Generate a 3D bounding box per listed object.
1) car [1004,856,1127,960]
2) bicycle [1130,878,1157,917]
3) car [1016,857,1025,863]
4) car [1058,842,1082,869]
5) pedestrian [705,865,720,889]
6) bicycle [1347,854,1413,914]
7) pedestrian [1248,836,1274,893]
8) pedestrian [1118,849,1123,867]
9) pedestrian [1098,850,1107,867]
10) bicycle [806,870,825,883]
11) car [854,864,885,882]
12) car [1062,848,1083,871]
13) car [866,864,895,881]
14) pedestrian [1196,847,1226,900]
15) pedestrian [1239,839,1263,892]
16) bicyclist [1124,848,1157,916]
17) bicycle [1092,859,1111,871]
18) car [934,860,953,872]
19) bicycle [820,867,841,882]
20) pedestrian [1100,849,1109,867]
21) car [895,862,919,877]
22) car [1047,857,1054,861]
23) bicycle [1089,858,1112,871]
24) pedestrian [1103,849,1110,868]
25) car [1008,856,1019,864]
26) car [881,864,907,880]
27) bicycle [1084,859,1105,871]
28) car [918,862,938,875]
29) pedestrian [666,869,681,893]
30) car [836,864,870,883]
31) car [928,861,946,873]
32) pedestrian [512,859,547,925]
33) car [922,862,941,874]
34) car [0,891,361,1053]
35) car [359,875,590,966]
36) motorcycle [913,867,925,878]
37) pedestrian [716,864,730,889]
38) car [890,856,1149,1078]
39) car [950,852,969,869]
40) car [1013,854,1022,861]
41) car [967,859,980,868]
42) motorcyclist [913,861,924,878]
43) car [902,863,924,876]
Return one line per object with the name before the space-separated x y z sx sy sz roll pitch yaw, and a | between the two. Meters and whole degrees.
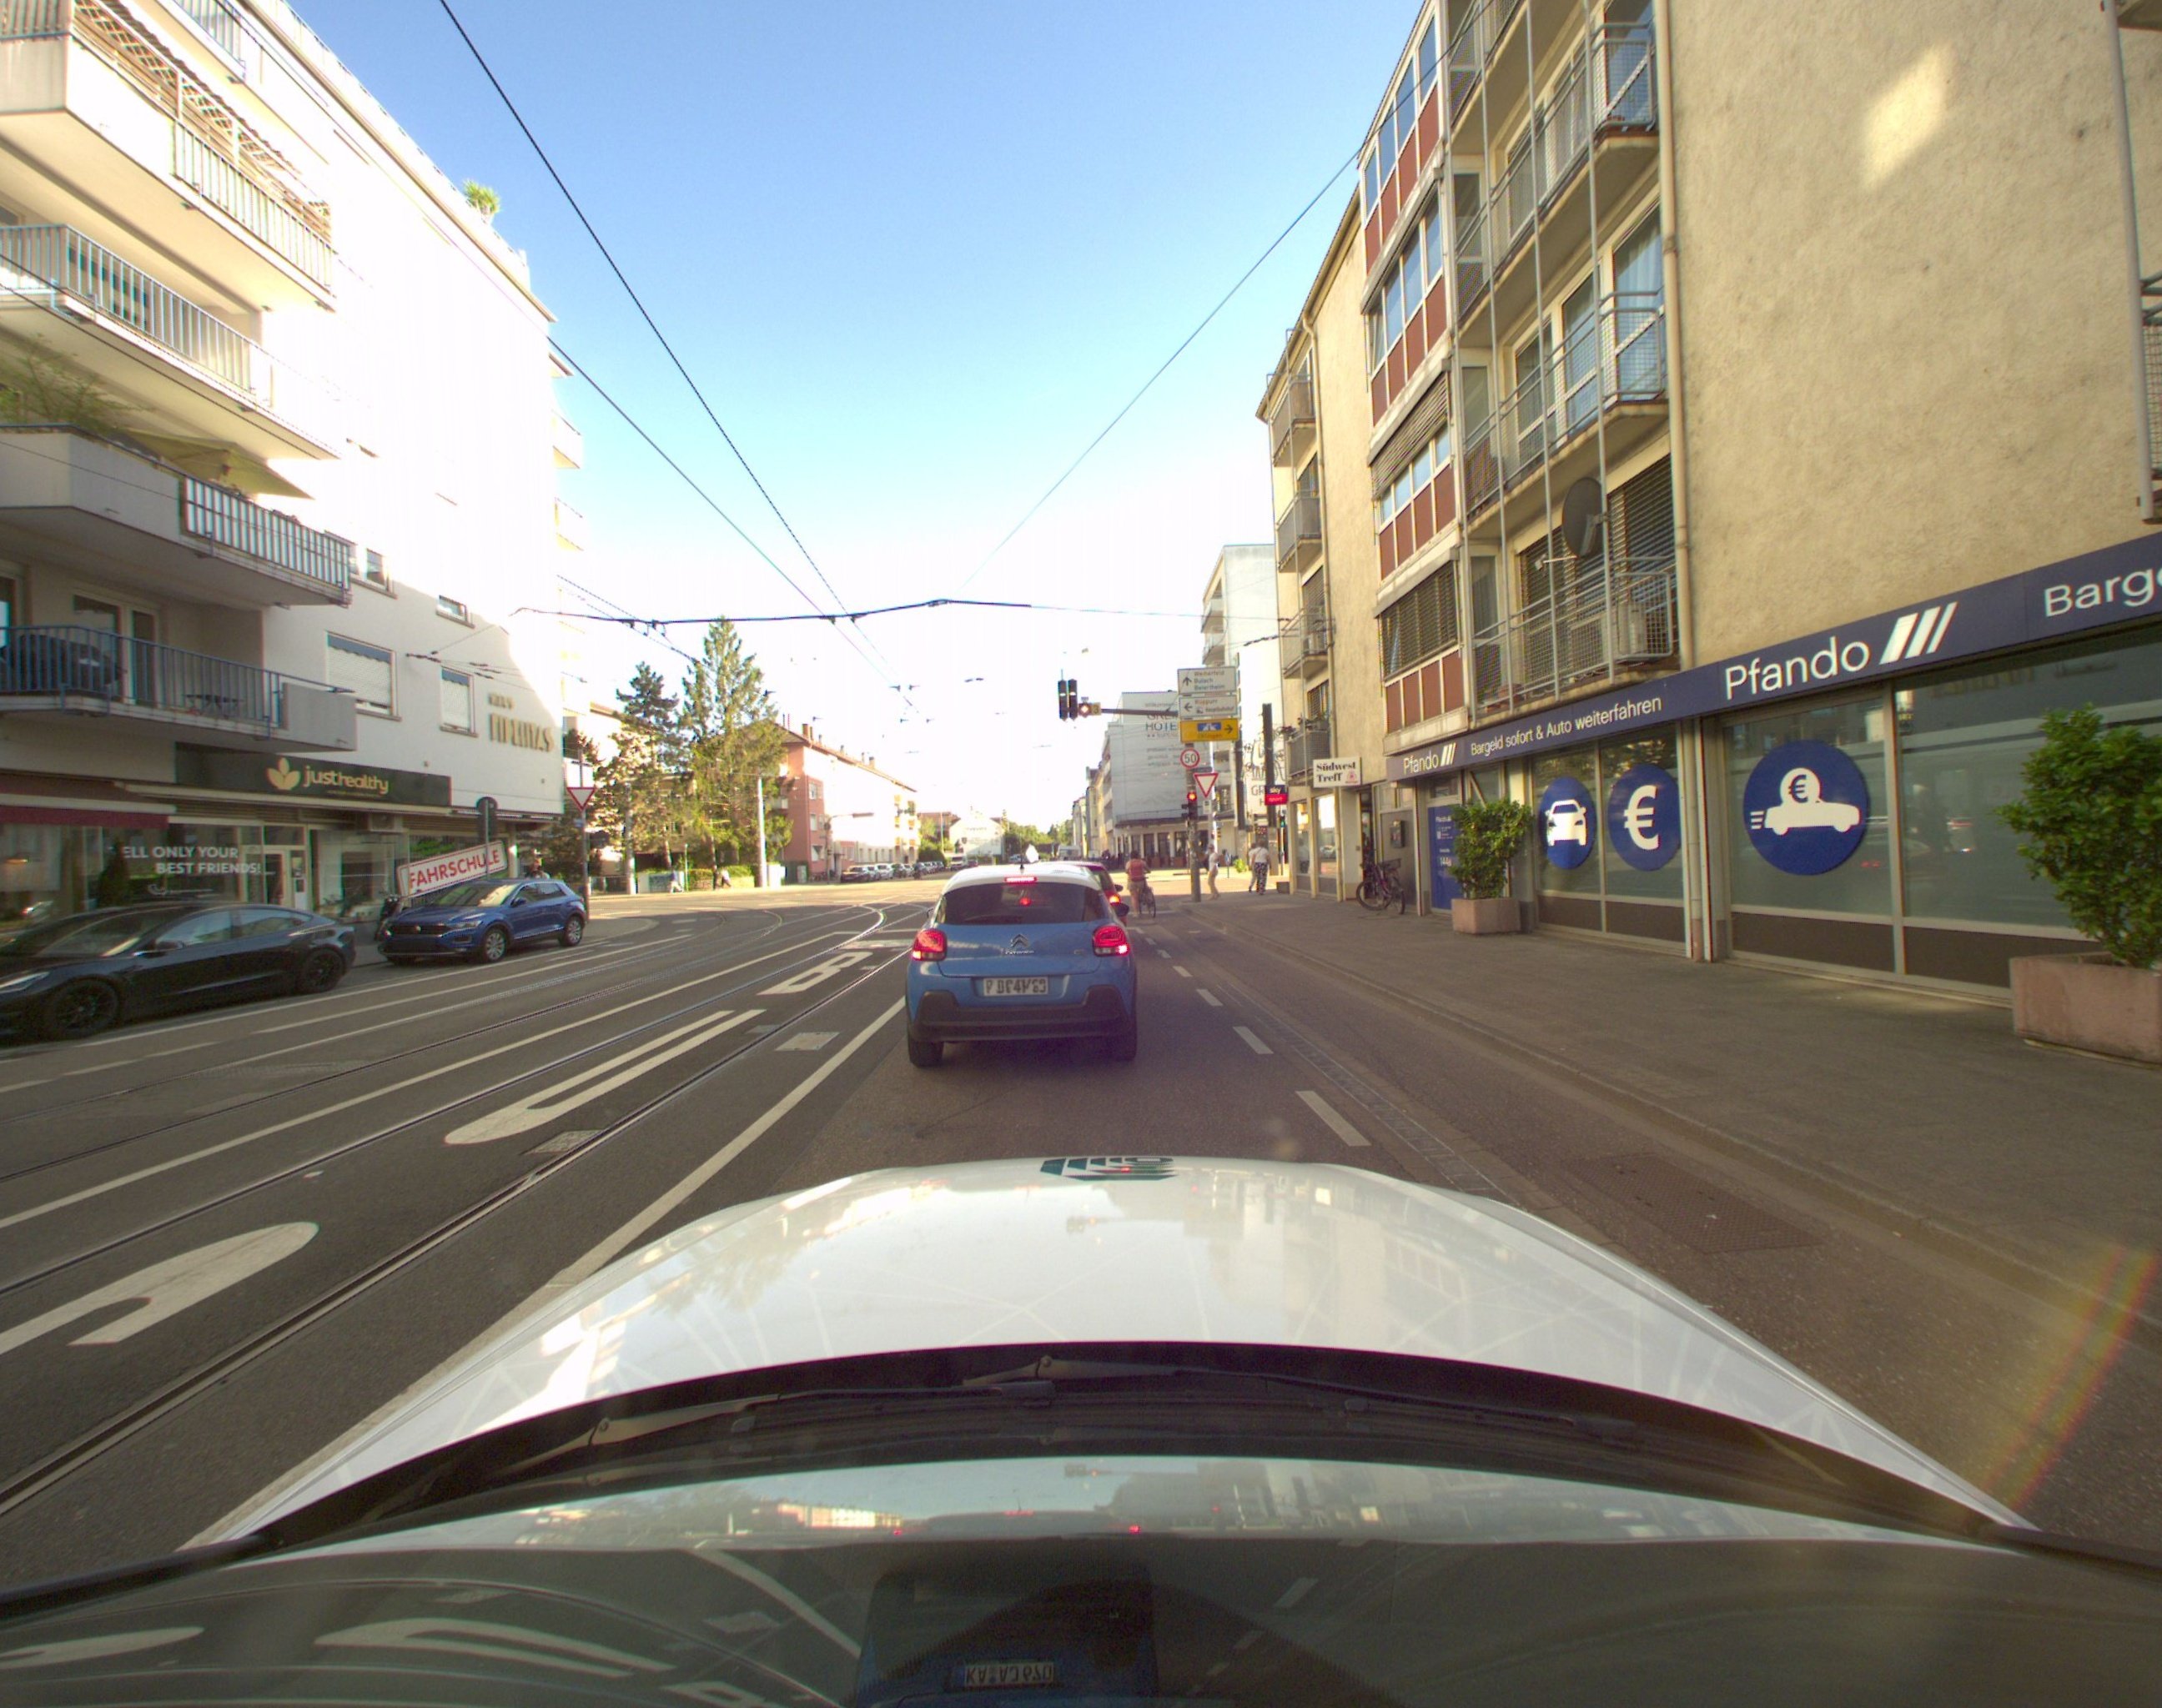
car | -0.161 0.789 13.786 1.732 1.420 4.002 -2 0 2
bicycle | 1.569 1.087 20.606 0.497 0.864 1.748 -2 0 0
car | -15.379 1.510 206.784 2.016 1.525 3.997 -3 0 -2
car | -1.004 0.151 72.654 1.988 2.325 3.998 -1 0 -1
pedestrian | -25.825 1.609 57.099 0.740 1.690 0.837 -2 0 -36
bicycle | 5.762 0.545 15.788 0.528 1.072 1.810 -2 0 -1
pedestrian | 5.443 0.318 24.672 0.539 1.672 0.650 -4 0 0
pedestrian | 3.410 0.347 70.252 0.284 1.556 0.304 -2 0 -7
pedestrian | 2.001 0.401 74.632 0.648 1.556 0.490 -2 0 -20
bicycle | -22.265 1.857 68.274 0.730 0.952 2.597 -2 0 0
car | -19.523 1.726 75.201 1.906 1.497 3.997 -3 0 -2
car | -0.723 0.460 67.727 1.727 1.750 3.212 -1 0 -1
car | -19.586 1.780 79.829 1.906 1.497 3.997 -3 0 -2
pedestrian | 3.881 0.580 24.287 0.603 1.507 0.546 -3 2 38
pedestrian | 5.548 0.369 26.564 0.539 1.672 0.624 -4 1 0
bicyclist | 1.479 0.678 20.398 0.723 1.646 0.790 -2 0 1
bicycle | 1.662 0.881 66.131 1.497 0.957 0.702 -3 0 3
car | -20.570 1.817 122.296 2.024 1.619 4.509 -3 0 -1
bicycle | -22.813 1.878 74.304 0.845 1.225 3.304 -2 0 0
pedestrian | 2.123 0.386 72.825 0.648 1.556 0.490 -2 0 -20
car | -19.811 1.752 92.764 1.906 1.497 3.997 -3 0 -2
car | -8.284 1.342 220.303 1.752 1.259 3.825 -2 0 -5
bicycle | 1.606 0.888 67.193 1.866 0.957 0.702 -3 0 3
pedestrian | 2.196 0.381 70.074 0.490 1.556 0.383 -3 0 -2
car | -14.063 1.325 169.996 2.016 1.525 3.997 -2 0 -2
car | -19.811 1.886 86.620 1.906 1.497 3.997 -3 0 -2
bicycle | 1.128 0.912 68.564 1.713 0.957 0.702 -3 0 3
car | -20.028 1.853 106.755 1.906 1.497 3.997 -3 0 -2
pedestrian | -28.320 1.895 56.618 0.854 1.625 0.510 -2 0 -32
car | -19.433 1.655 69.467 1.907 1.433 3.995 -3 0 -4
car | -20.614 1.880 116.867 1.865 1.574 3.997 -2 0 -2
pedestrian | -17.269 1.193 25.522 0.684 2.013 0.486 -2 0 1
car | -20.530 1.899 111.769 1.906 1.497 3.997 -3 0 -2
car | -11.959 1.314 10.432 1.694 1.509 4.309 -1 -1 -1
car | -11.872 1.220 16.331 1.740 1.509 3.996 -1 -1 -2
motorcycle | -13.485 1.553 67.777 0.613 0.864 1.671 -3 0 2
pedestrian | -24.973 1.567 56.827 0.740 1.690 0.837 -2 0 -34
car | -0.546 0.766 7.568 1.740 1.462 3.994 -1 0 -4
car | -17.876 0.945 119.959 2.201 2.251 4.673 -3 0 -2
car | -14.670 0.849 188.067 2.016 1.525 3.997 -3 0 -2
car | -19.138 1.737 145.181 2.016 1.525 3.997 -2 0 -2
motorcyclist | -13.492 1.265 67.624 0.716 1.378 0.912 -2 0 2
car | -20.224 1.849 98.349 1.906 1.497 3.997 -3 0 -2
